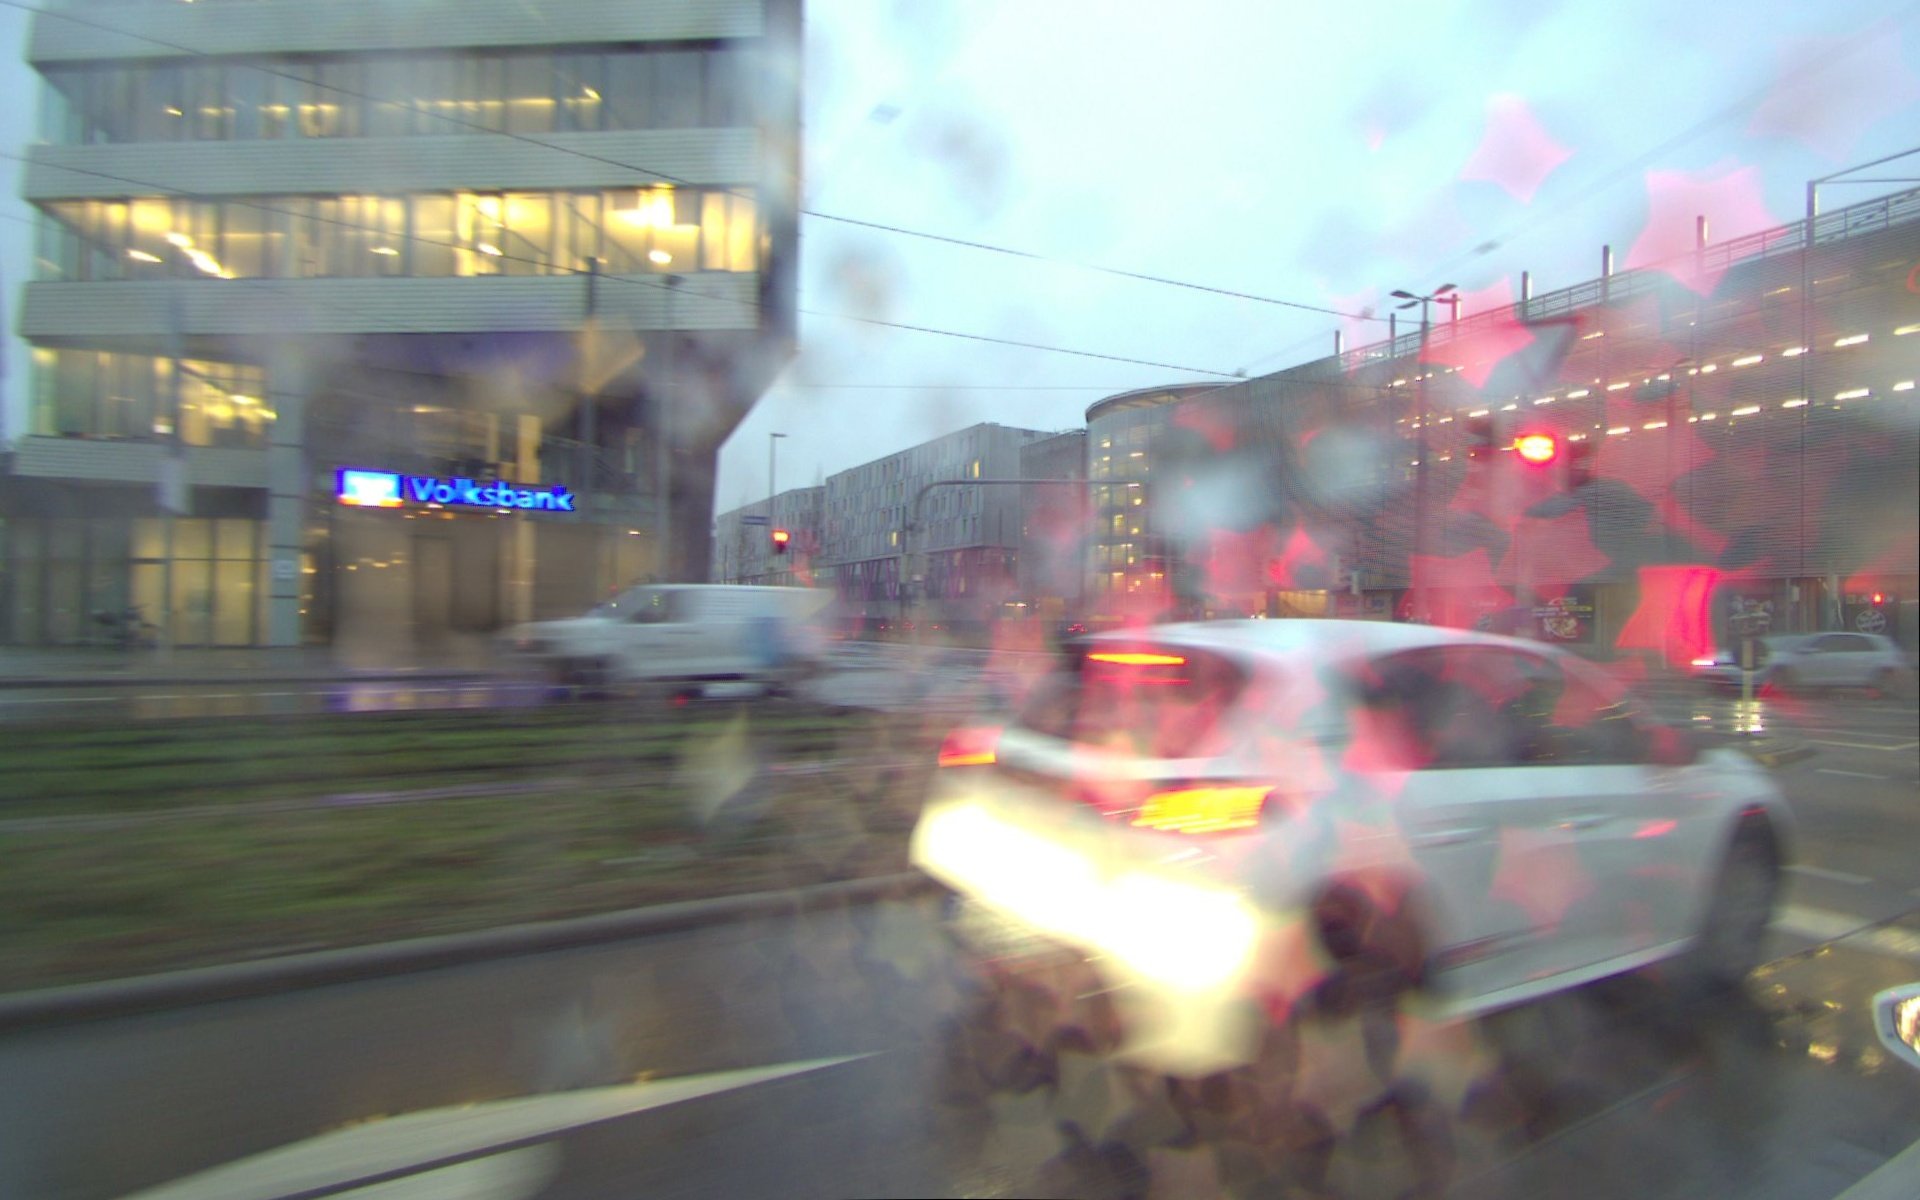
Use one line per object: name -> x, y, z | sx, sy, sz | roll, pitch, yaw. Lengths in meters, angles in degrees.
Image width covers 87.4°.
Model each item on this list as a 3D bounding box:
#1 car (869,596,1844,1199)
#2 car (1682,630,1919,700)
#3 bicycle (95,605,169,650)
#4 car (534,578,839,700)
car -> 1.761, 0.788, 4.087 | 3.874, 1.483, 1.748 | 2, -1, -32
car -> 19.774, 1.505, 23.675 | 4.257, 1.505, 1.866 | 1, -1, -3
bicycle -> -21.704, 0.719, 26.351 | 0.518, 1.142, 1.499 | 1, -1, 10
car -> -4.748, 0.681, 17.553 | 4.895, 1.896, 1.894 | 2, -1, -25
